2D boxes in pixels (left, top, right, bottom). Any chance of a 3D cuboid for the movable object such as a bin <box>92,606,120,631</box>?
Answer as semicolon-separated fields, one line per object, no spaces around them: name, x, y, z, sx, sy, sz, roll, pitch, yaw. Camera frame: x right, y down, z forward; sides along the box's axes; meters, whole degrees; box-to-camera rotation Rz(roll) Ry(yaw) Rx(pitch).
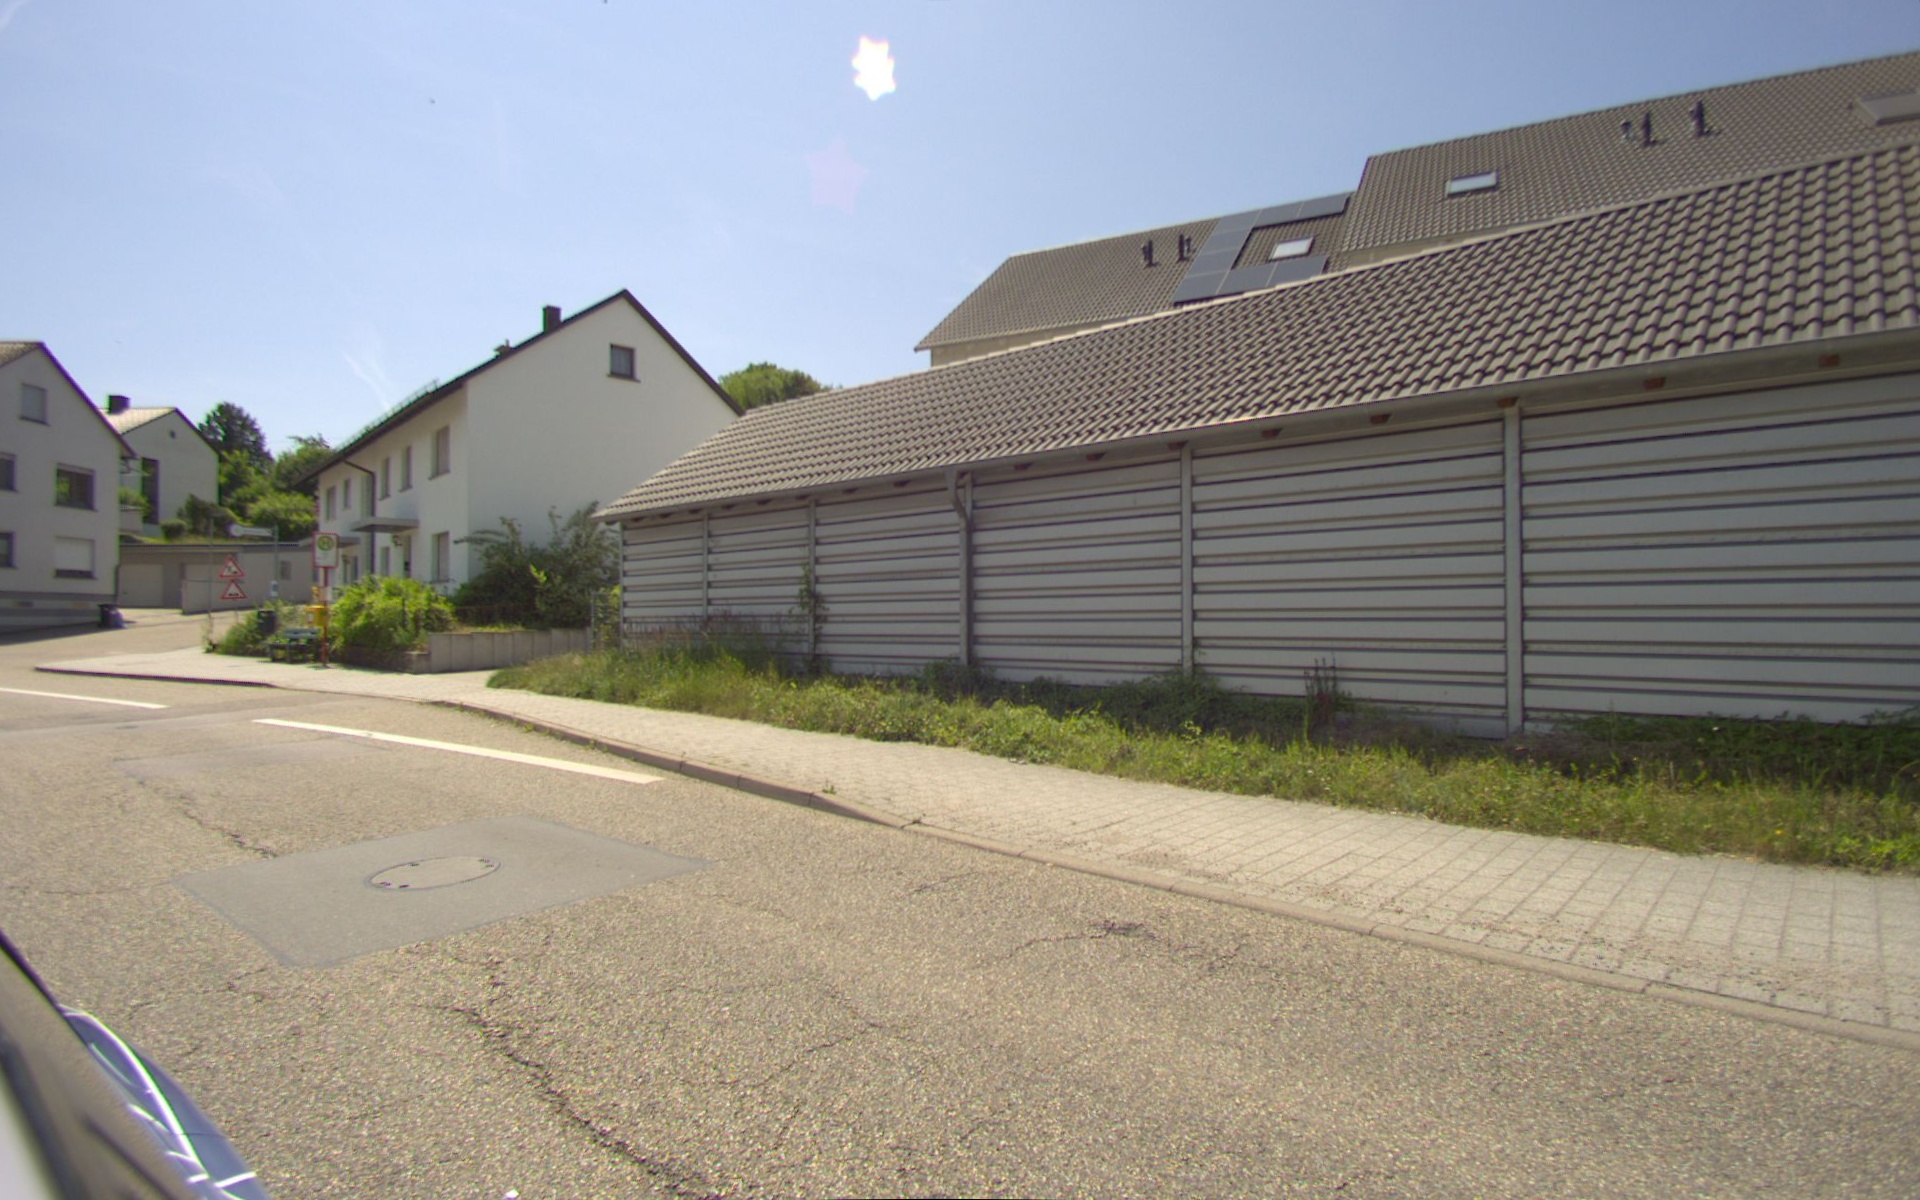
movable object such as a bin;-33.004;0.724;39.126;0.591;0.941;0.600;0;-1;-5
